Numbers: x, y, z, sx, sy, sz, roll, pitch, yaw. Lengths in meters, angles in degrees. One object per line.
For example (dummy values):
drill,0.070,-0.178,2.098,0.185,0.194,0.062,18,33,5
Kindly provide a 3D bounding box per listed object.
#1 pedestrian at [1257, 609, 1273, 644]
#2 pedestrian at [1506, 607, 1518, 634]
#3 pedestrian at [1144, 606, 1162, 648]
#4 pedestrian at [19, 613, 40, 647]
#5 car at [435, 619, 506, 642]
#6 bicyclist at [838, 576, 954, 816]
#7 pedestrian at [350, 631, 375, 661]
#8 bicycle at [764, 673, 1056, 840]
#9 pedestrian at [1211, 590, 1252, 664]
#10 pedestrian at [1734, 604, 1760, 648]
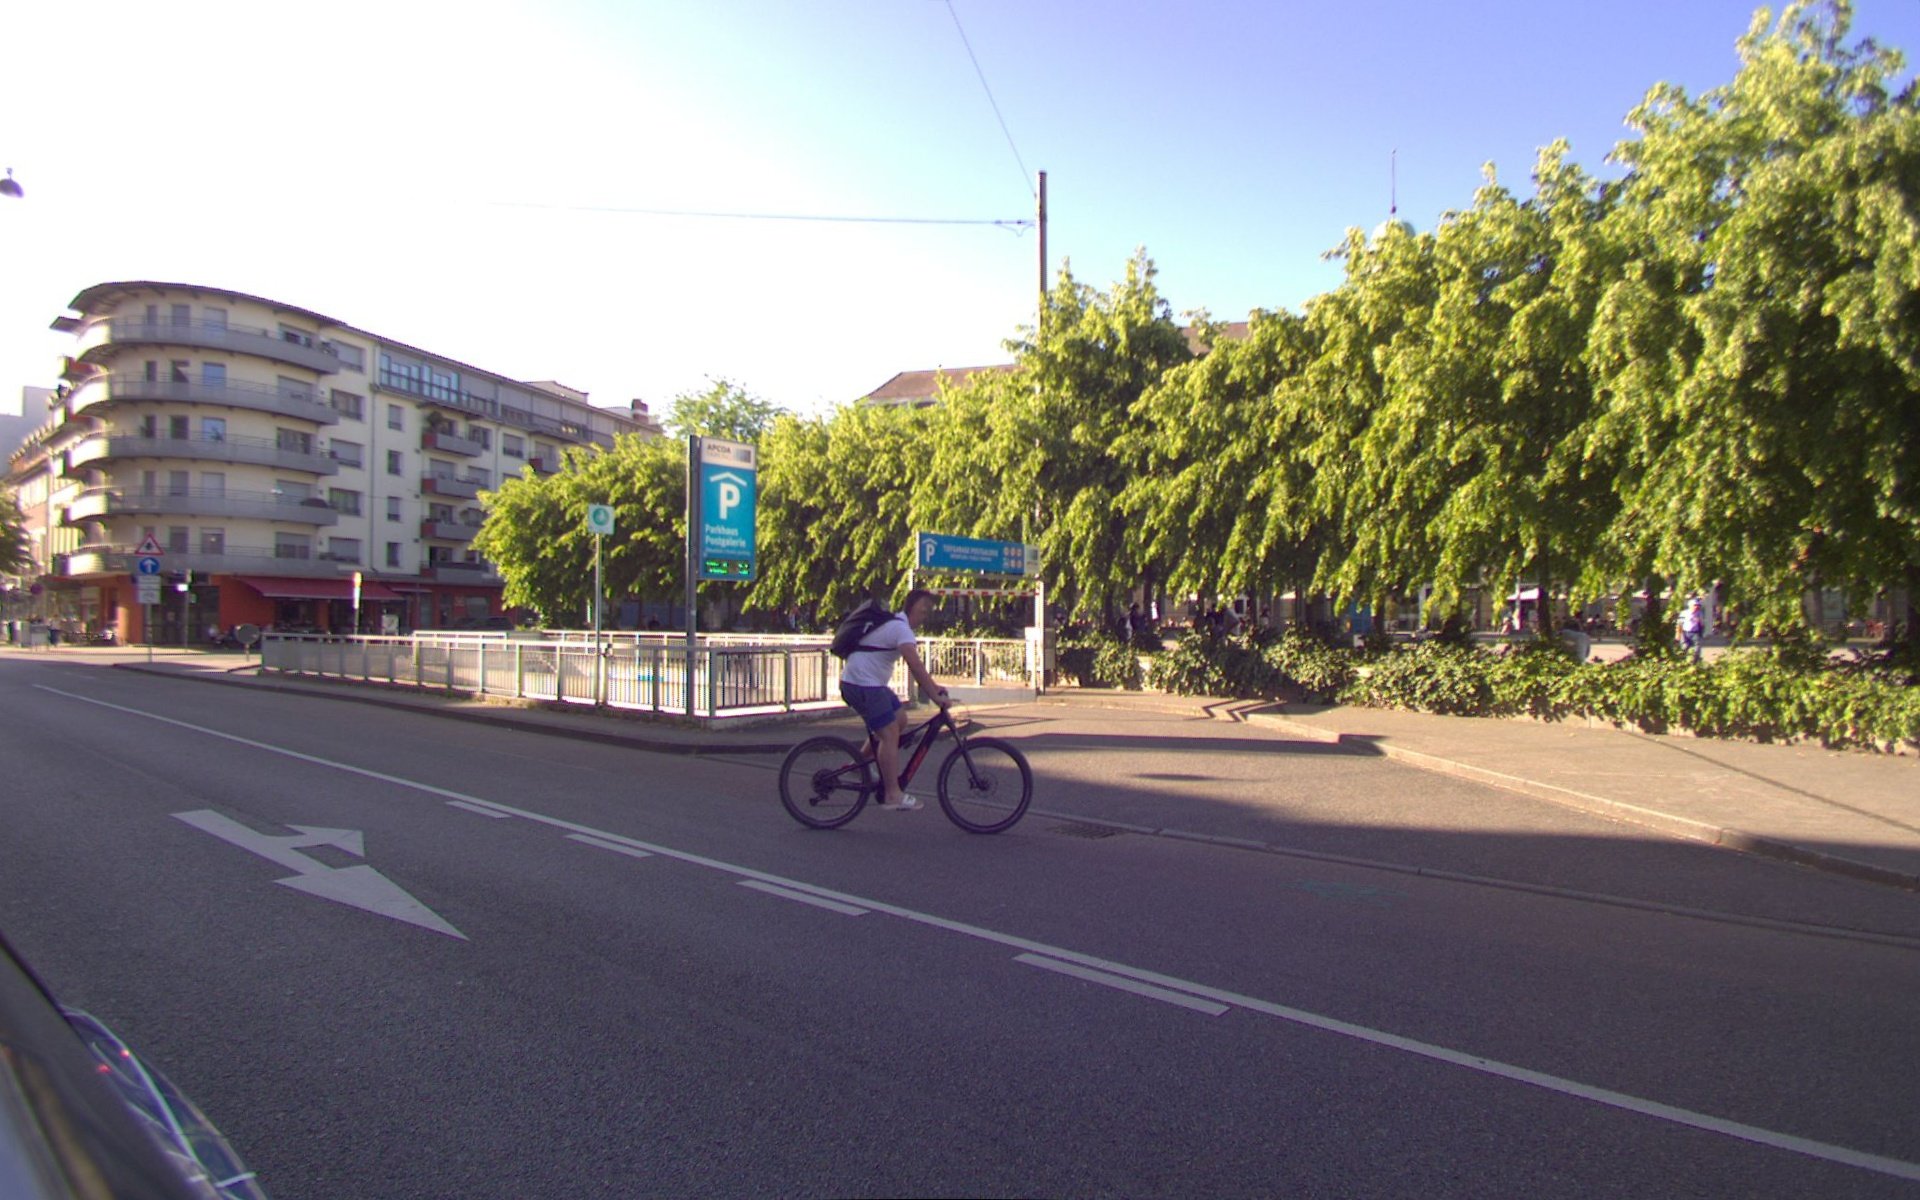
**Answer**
pedestrian,15.397,1.342,51.062,0.606,1.734,0.640,-1,0,31
pedestrian,35.754,1.323,65.546,0.643,1.734,0.603,-1,0,26
pedestrian,8.112,1.119,42.504,0.604,1.734,0.642,-1,0,21
pedestrian,-55.712,1.795,60.593,0.888,2.029,0.850,-1,0,40
car,-30.510,1.891,63.210,1.742,1.311,3.977,-1,-1,17
bicyclist,-0.470,0.678,7.480,0.757,1.647,0.887,2,-1,-3
pedestrian,-32.659,2.507,55.328,0.877,1.607,0.861,-1,0,2
bicycle,-0.367,1.130,7.479,2.031,1.093,0.641,2,-1,-3
pedestrian,6.201,0.609,23.144,0.645,1.661,0.626,-1,0,-35
pedestrian,31.706,1.035,40.765,0.641,1.734,0.605,-1,0,18
